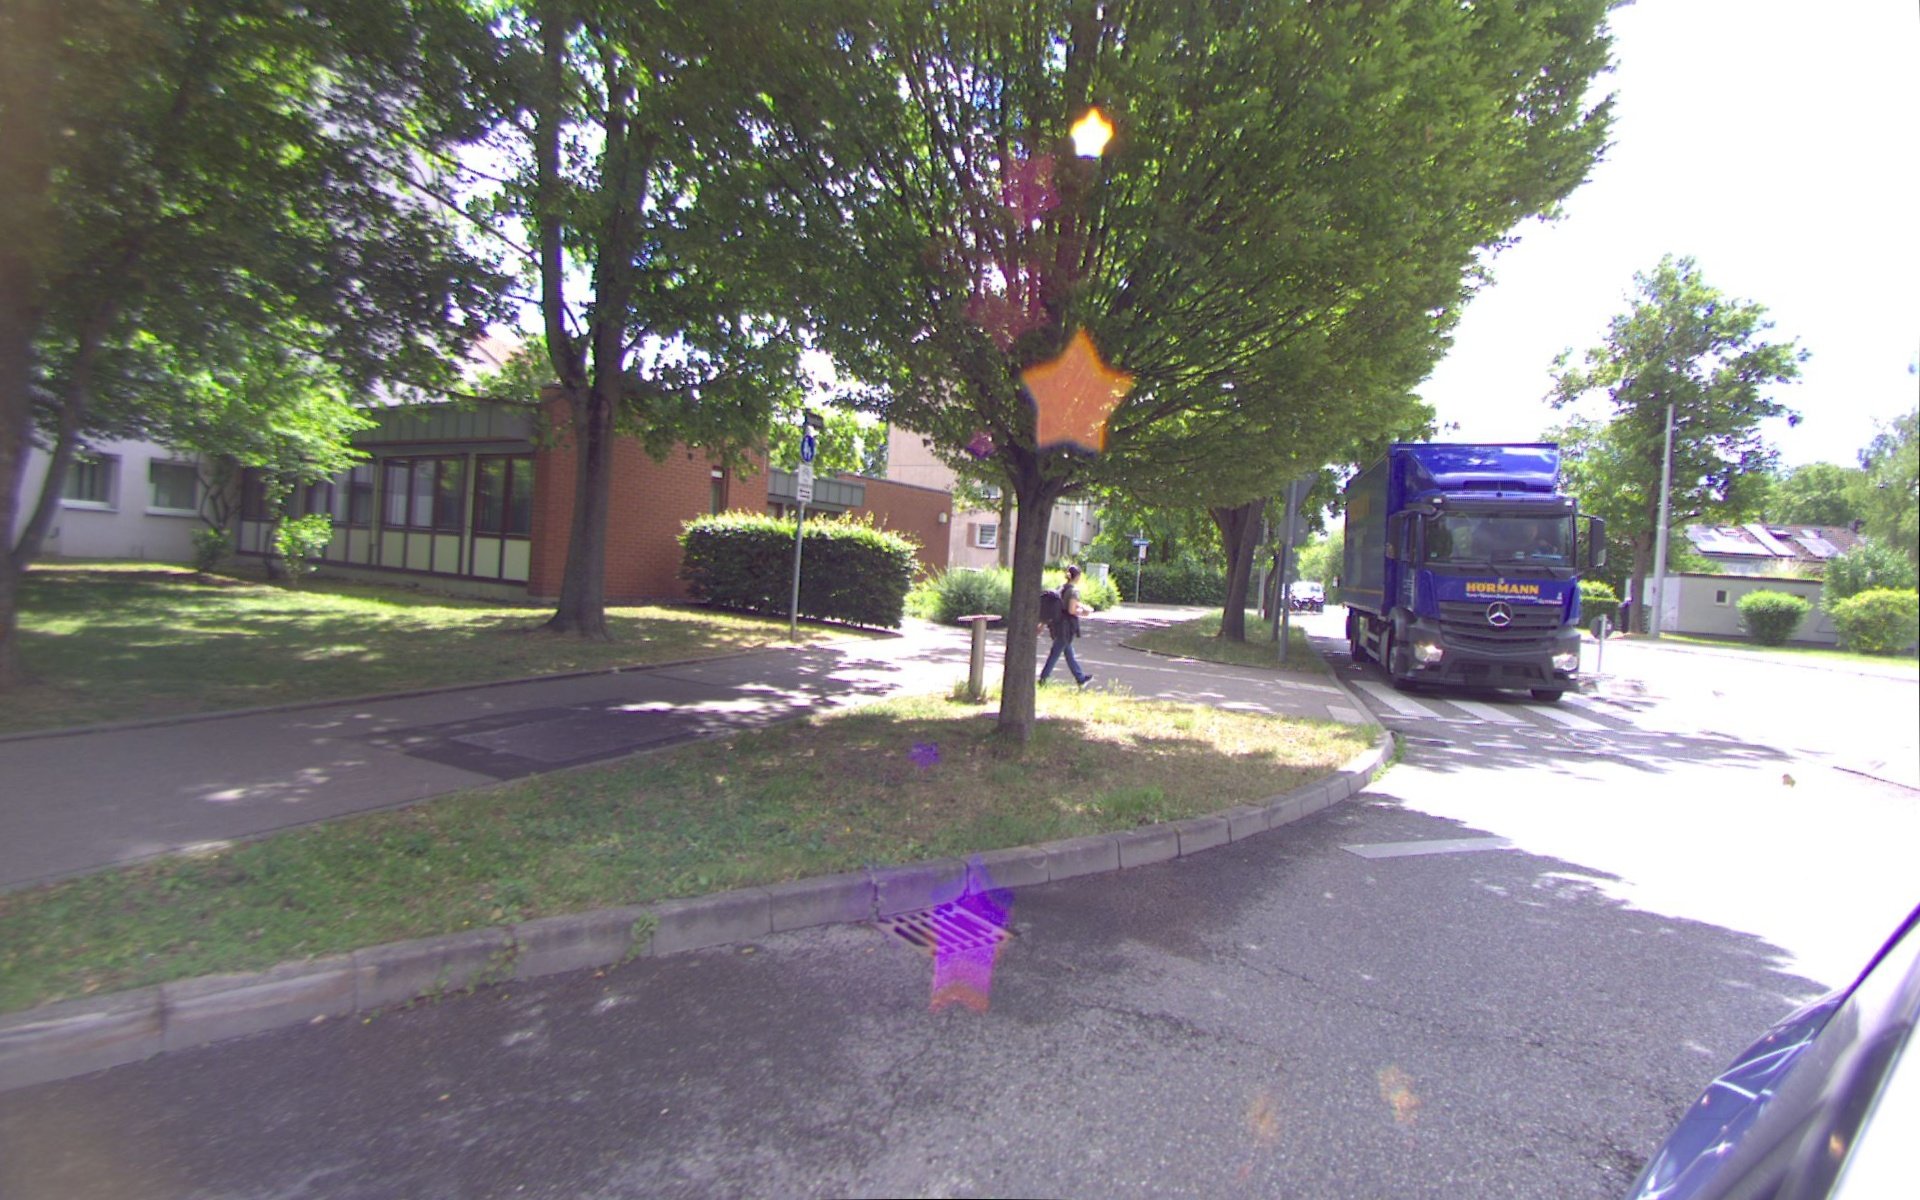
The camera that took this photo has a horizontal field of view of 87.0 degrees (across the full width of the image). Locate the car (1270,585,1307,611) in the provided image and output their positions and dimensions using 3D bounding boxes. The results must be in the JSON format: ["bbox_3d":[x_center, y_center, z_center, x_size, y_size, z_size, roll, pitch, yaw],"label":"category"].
[{"bbox_3d":[22.251,-0.124,68.624,1.971,1.572,3.983,5,0,13],"label":"car"}]

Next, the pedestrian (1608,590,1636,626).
[{"bbox_3d":[31.313,0.369,47.866,0.893,1.601,0.655,4,2,23],"label":"pedestrian"}]

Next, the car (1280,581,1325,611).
[{"bbox_3d":[20.115,-0.223,59.573,1.971,1.572,3.983,5,0,13],"label":"car"}]

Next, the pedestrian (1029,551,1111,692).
[{"bbox_3d":[1.331,0.225,12.176,0.713,1.598,0.834,4,4,23],"label":"pedestrian"}]

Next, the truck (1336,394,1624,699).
[{"bbox_3d":[9.112,-0.826,19.146,2.752,4.204,9.747,4,1,16],"label":"truck"}]
